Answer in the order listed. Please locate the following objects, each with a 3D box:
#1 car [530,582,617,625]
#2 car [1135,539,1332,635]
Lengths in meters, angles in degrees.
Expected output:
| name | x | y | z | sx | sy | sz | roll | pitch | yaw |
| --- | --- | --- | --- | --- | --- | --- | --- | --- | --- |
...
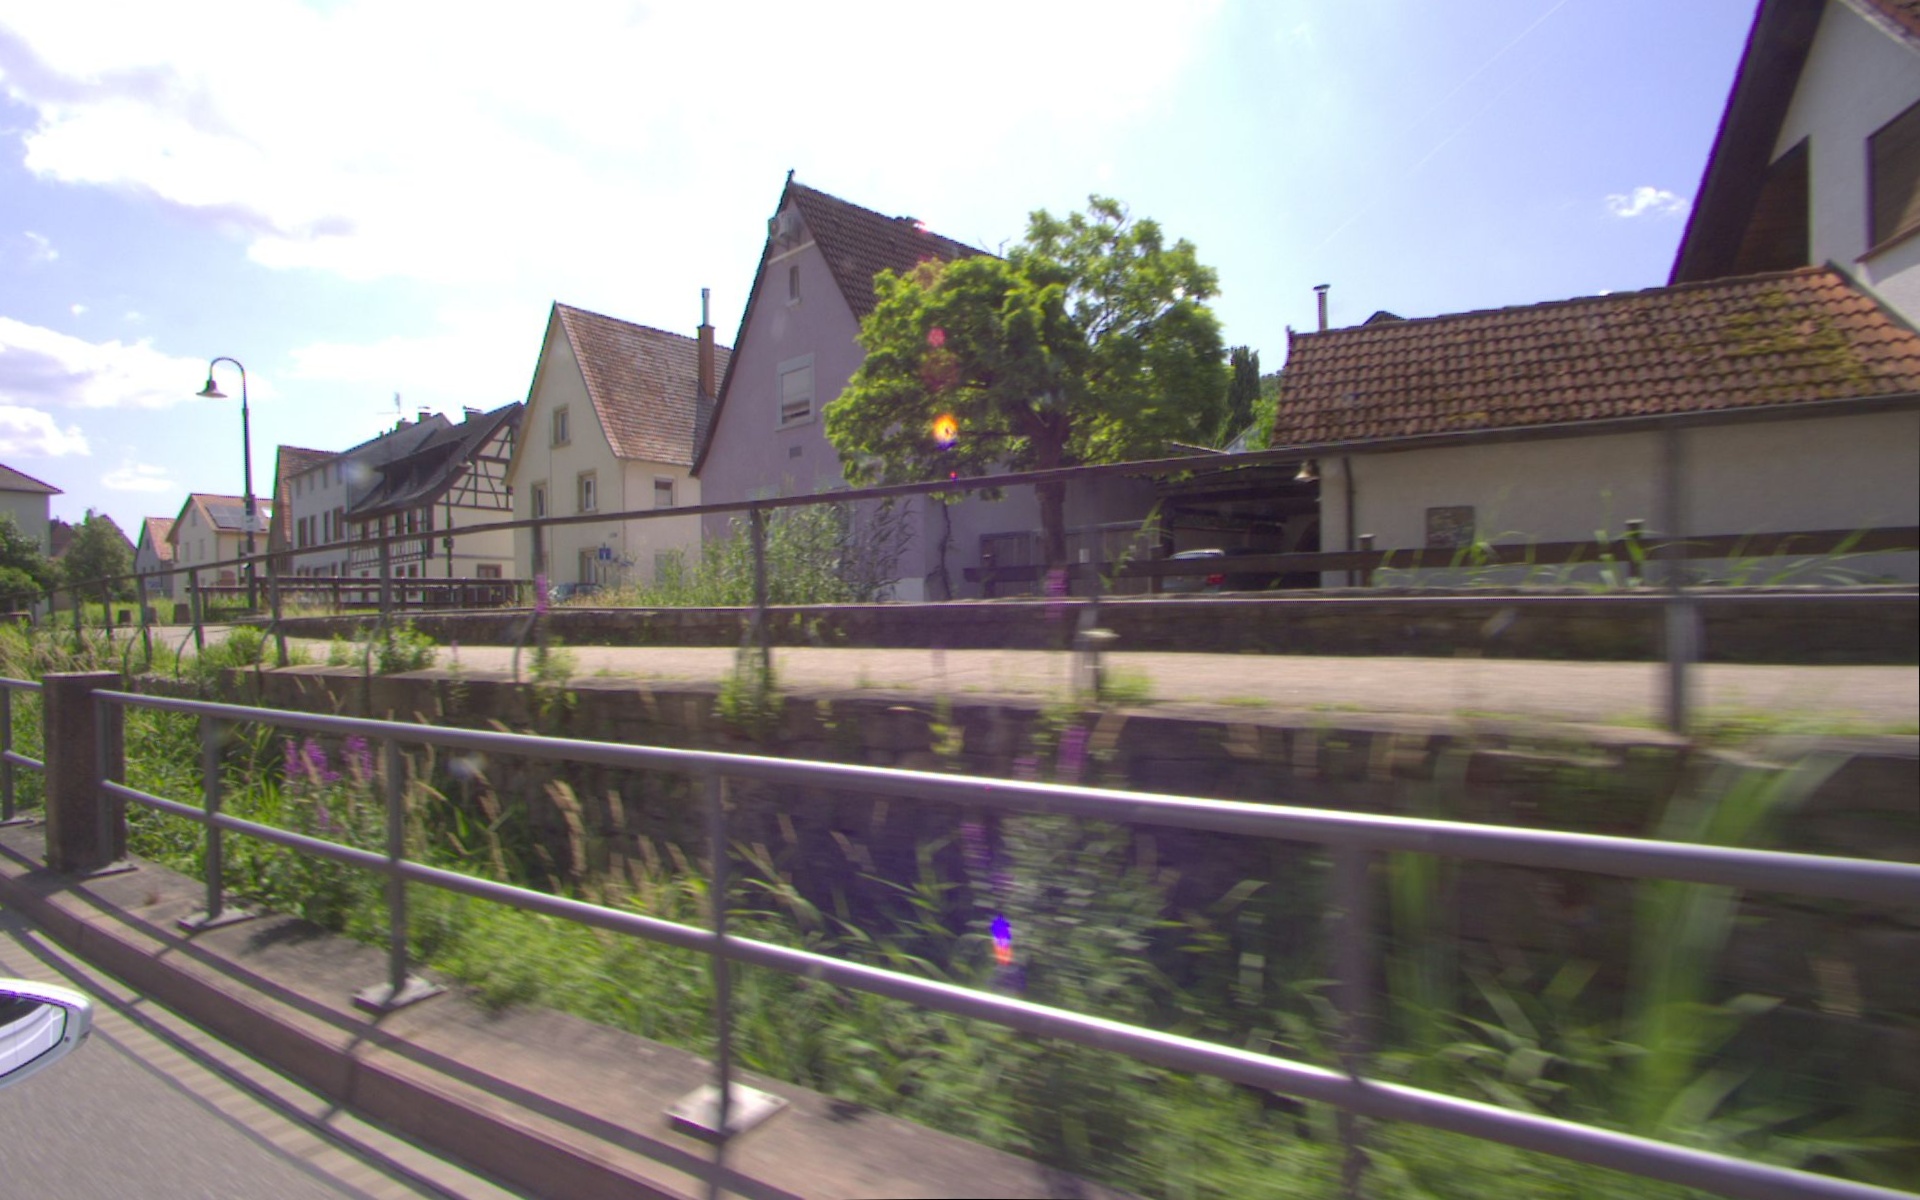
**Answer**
| name | x | y | z | sx | sy | sz | roll | pitch | yaw |
| --- | --- | --- | --- | --- | --- | --- | --- | --- | --- |
| car | -13.541 | 0.136 | 35.027 | 3.044 | 1.434 | 1.657 | -1 | -1 | 42 |
| car | 4.938 | -0.179 | 17.913 | 3.476 | 1.545 | 1.743 | 1 | -1 | -40 |
